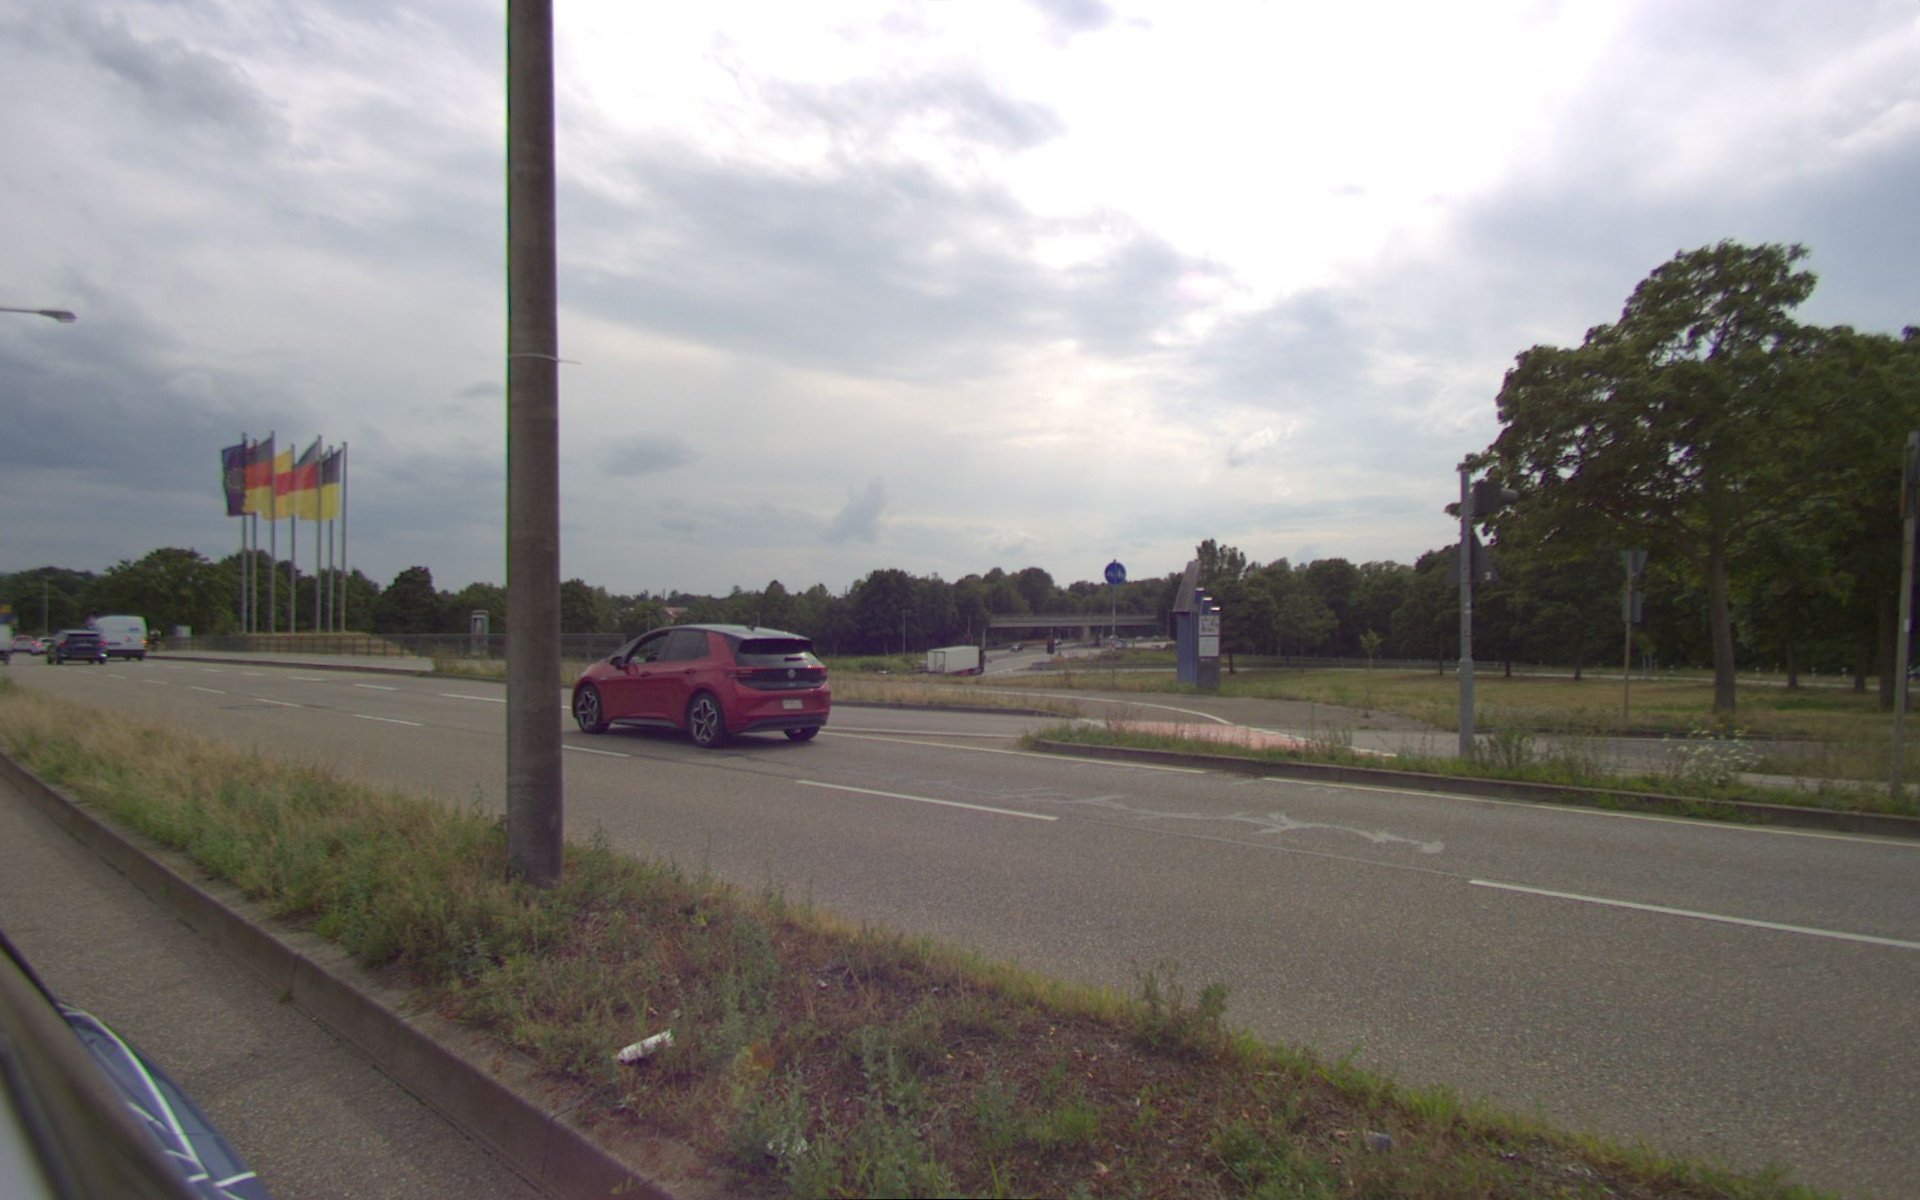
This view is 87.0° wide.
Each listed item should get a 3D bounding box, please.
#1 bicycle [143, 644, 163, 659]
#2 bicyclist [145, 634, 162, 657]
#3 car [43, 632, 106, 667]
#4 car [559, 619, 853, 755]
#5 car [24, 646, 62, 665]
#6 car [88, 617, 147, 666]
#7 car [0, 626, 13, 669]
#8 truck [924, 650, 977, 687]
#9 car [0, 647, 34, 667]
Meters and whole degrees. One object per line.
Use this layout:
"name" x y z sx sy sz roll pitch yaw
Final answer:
"bicycle" -57.734 3.669 72.436 2.057 1.057 0.699 -2 -1 39
"bicyclist" -57.663 3.252 72.347 0.975 1.639 0.787 -2 -1 39
"car" -42.305 2.362 48.309 4.586 1.597 1.728 -2 -4 43
"car" -3.579 1.101 13.873 4.334 1.586 1.634 -2 -4 40
"car" -73.846 4.446 81.456 4.469 1.492 1.720 -2 -4 41
"car" -48.529 2.409 58.246 2.029 2.663 6.404 3 -4 -44
"car" -43.801 2.149 45.459 3.570 1.885 1.523 -2 -4 43
"truck" -1.147 9.159 137.953 3.004 4.376 13.925 -1 -1 17
"car" -85.011 5.098 91.154 4.769 1.738 1.842 -2 -4 42
